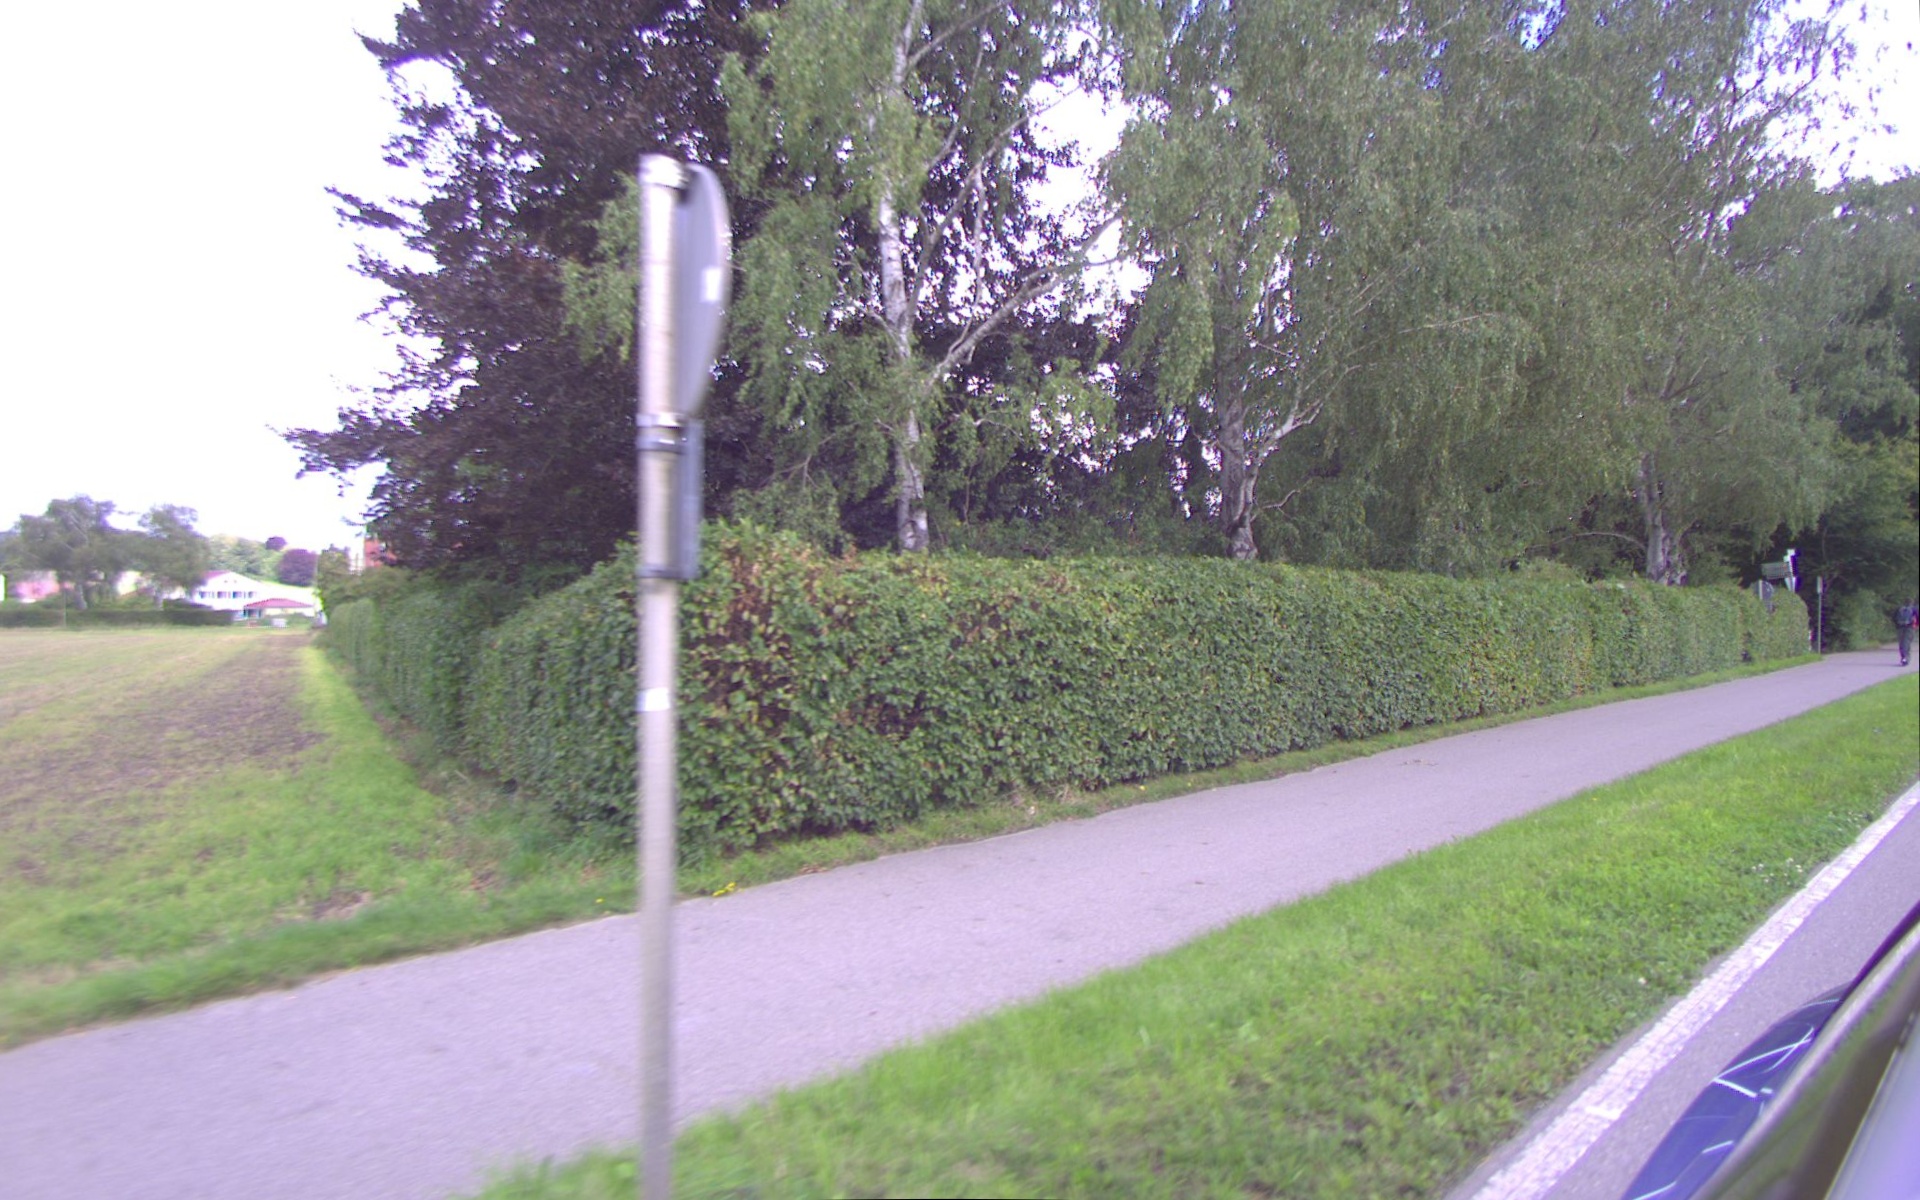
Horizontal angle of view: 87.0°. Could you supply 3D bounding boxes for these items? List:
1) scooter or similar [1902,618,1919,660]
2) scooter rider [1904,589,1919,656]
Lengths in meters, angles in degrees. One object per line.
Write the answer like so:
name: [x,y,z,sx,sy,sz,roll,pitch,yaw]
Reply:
scooter or similar: [28.487,1.143,30.001,1.666,1.179,0.649,0,-1,-41]
scooter rider: [28.488,0.662,30.007,0.772,1.990,0.643,0,-1,-41]
